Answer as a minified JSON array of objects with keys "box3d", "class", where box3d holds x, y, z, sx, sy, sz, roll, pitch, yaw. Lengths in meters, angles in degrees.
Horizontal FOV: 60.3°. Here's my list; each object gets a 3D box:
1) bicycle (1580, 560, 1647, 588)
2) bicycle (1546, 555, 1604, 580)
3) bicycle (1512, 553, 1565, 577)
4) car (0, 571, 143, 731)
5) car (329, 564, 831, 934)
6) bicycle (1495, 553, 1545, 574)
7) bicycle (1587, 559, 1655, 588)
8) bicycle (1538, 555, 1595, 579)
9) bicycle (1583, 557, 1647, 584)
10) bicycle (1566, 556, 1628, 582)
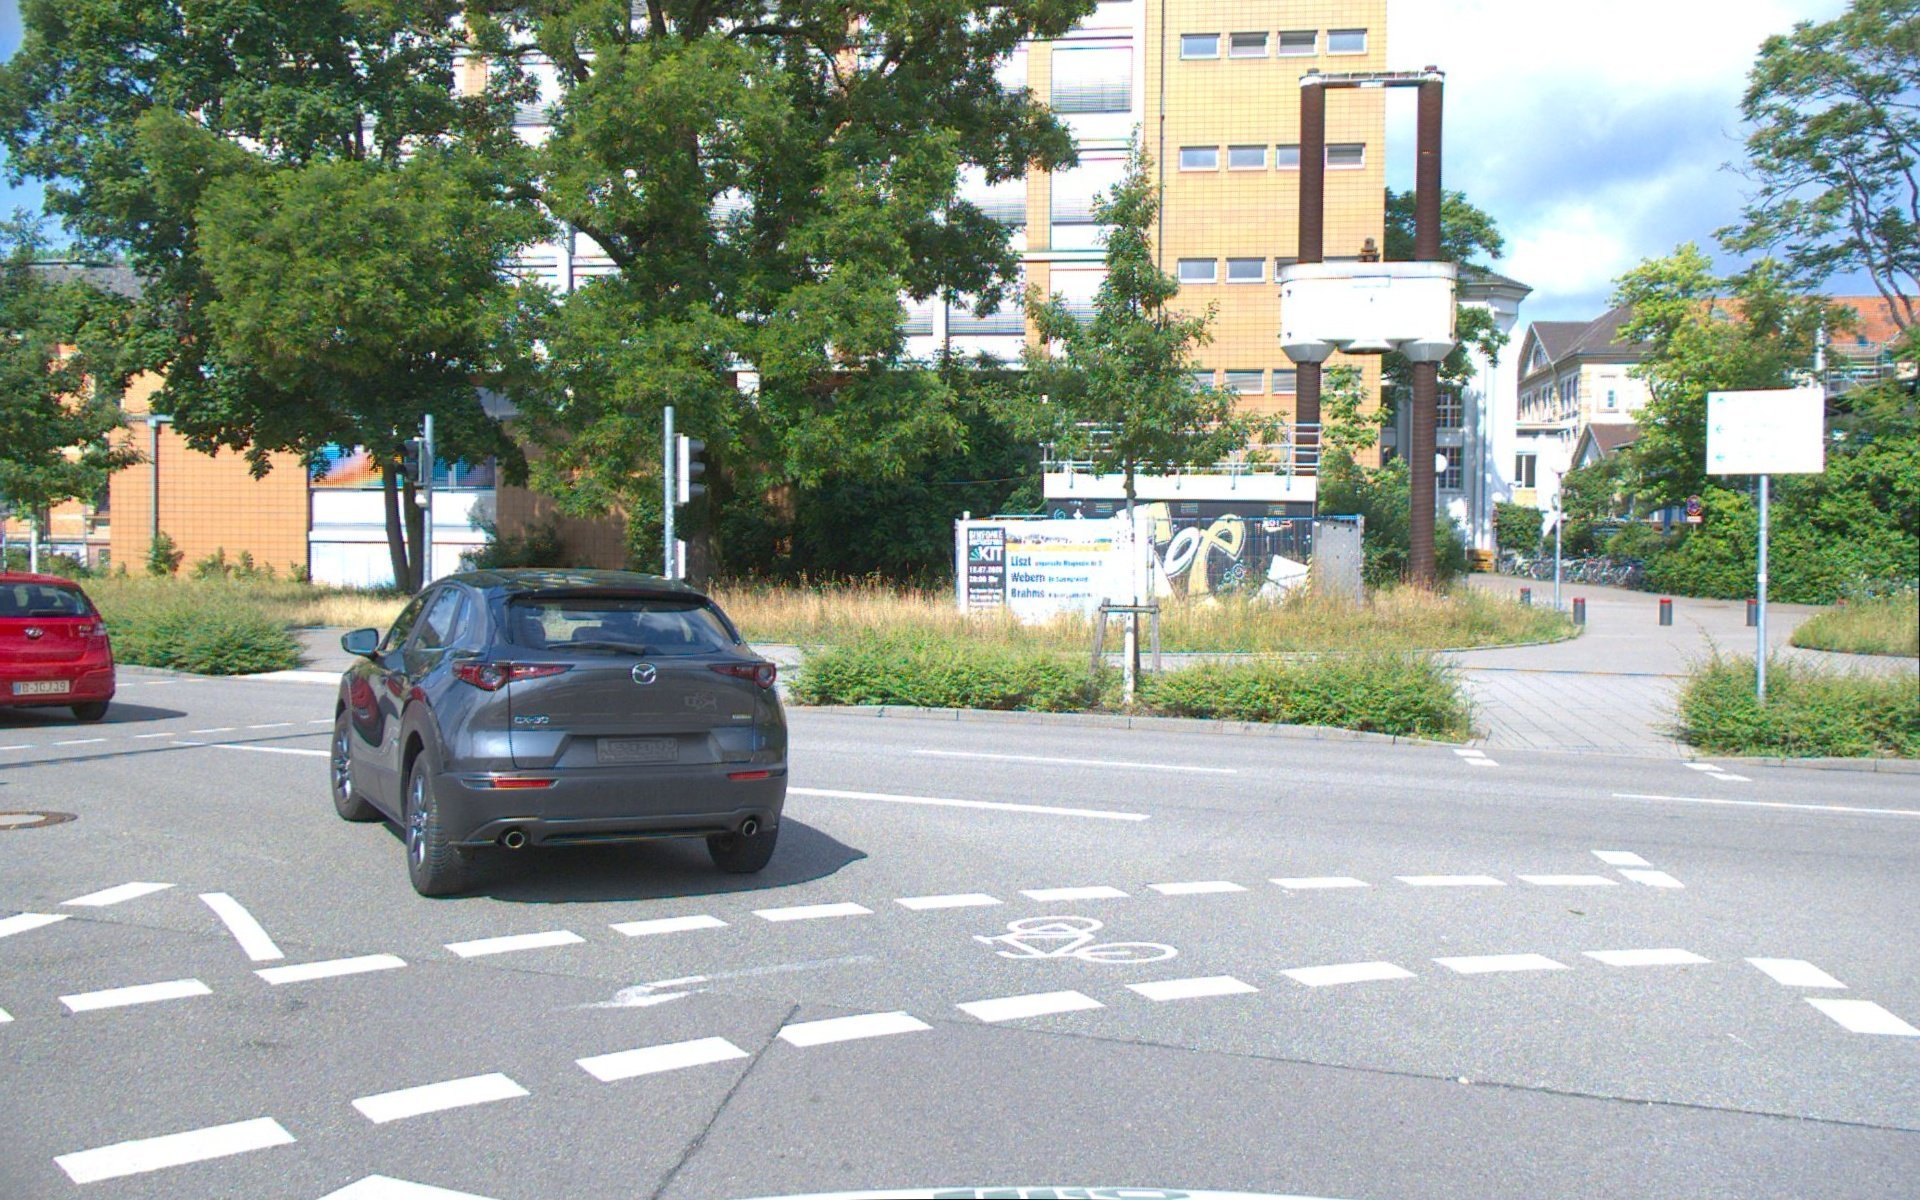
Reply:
[{"box3d":[22.797,-0.926,57.719,2.011,0.952,0.805,1,2,8],"class":"bicycle"},{"box3d":[24.170,-1.281,65.020,2.011,0.952,0.805,1,2,8],"class":"bicycle"},{"box3d":[24.408,-1.480,69.811,2.011,0.952,0.805,1,2,8],"class":"bicycle"},{"box3d":[-10.090,0.426,16.688,3.991,1.464,1.813,2,0,39],"class":"car"},{"box3d":[-2.324,0.593,9.149,1.784,1.534,4.168,0,1,-27],"class":"car"},{"box3d":[25.238,-1.653,74.602,2.011,0.952,0.805,1,2,8],"class":"bicycle"},{"box3d":[22.435,-0.909,56.180,2.011,0.952,0.805,1,2,8],"class":"bicycle"},{"box3d":[24.219,-1.324,66.055,2.011,0.952,0.805,1,2,8],"class":"bicycle"},{"box3d":[23.838,-1.086,60.230,2.011,0.952,0.805,1,2,8],"class":"bicycle"},{"box3d":[23.727,-1.152,61.609,2.011,0.952,0.805,1,2,8],"class":"bicycle"}]
